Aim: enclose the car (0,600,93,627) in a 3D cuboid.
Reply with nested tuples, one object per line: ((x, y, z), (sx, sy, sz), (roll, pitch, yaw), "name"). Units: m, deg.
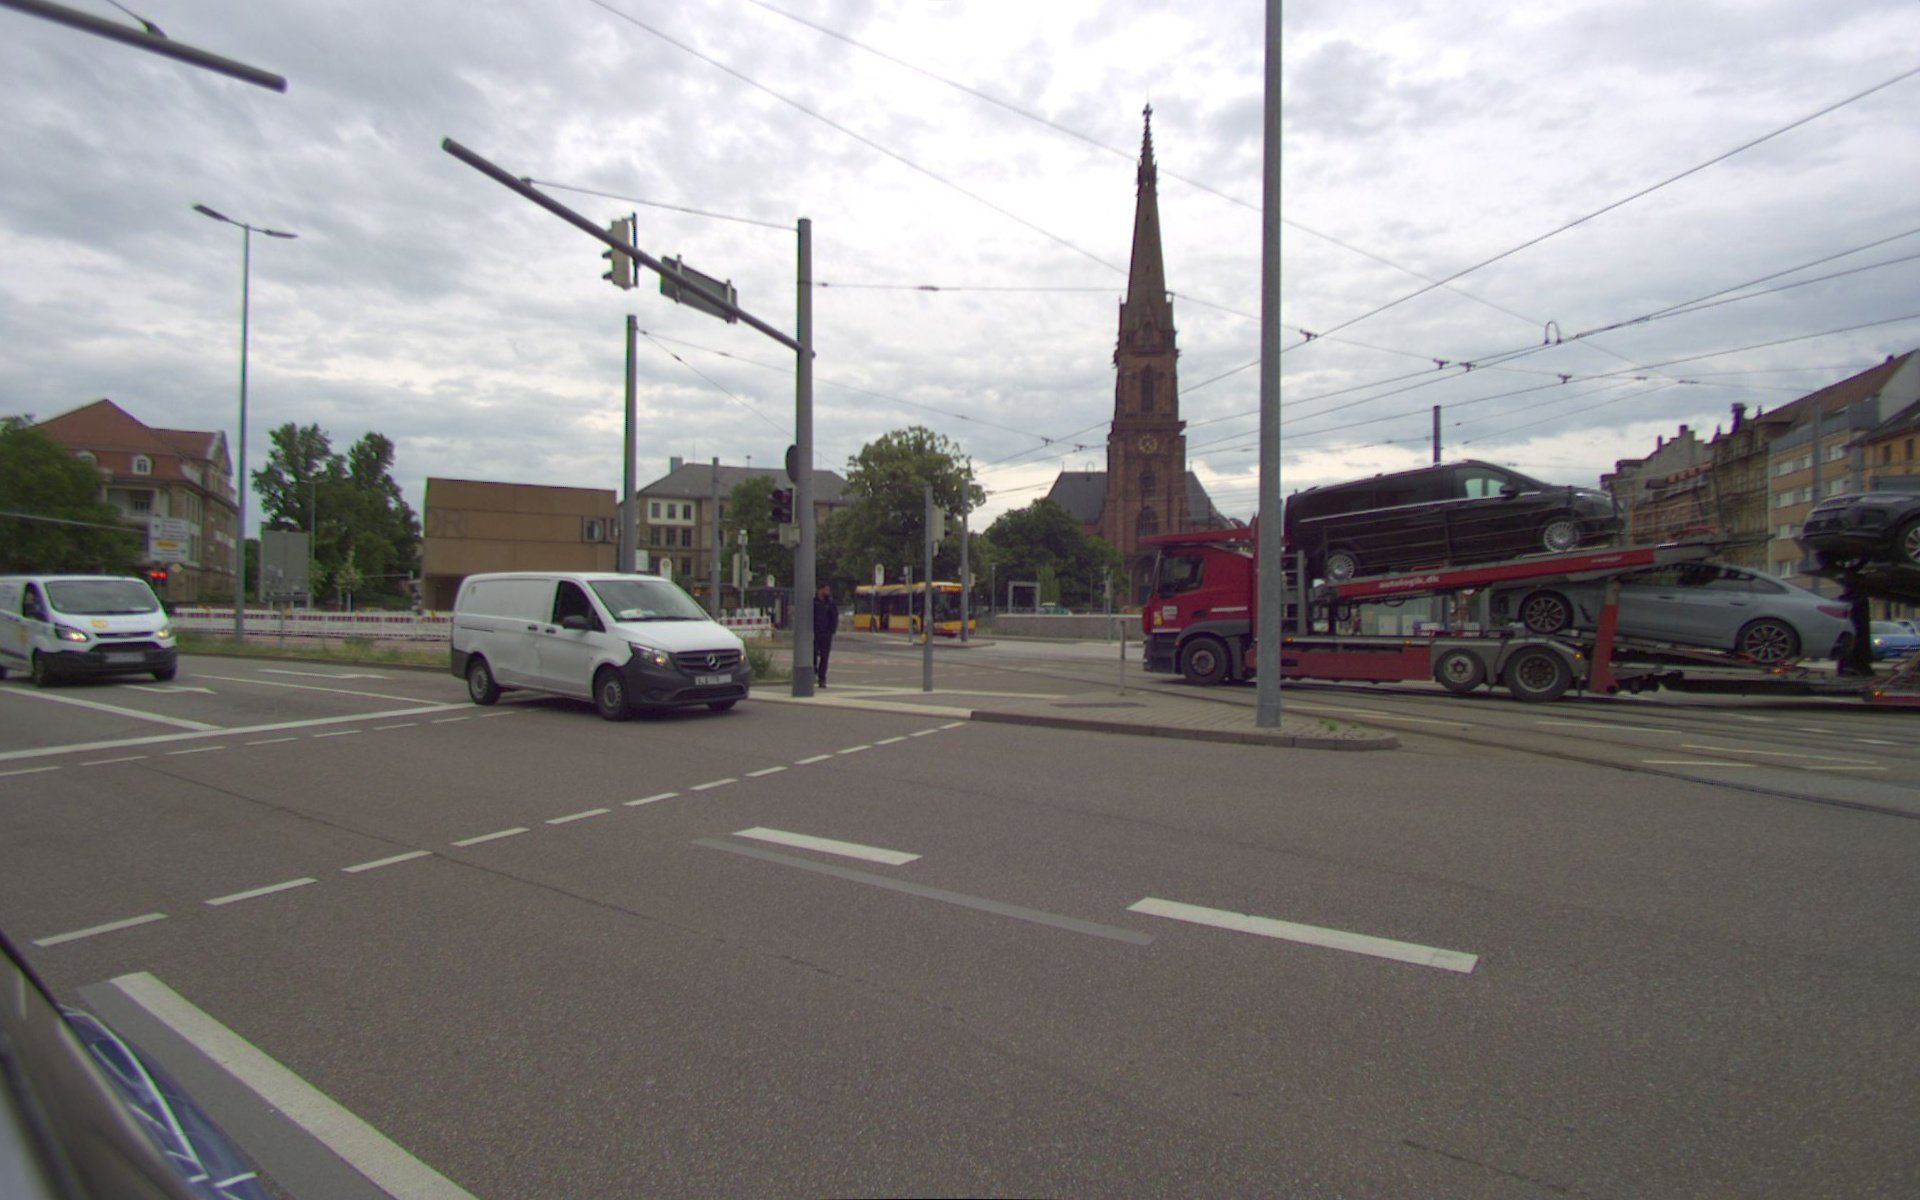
((-61.341, 0.925, 67.628), (1.892, 1.730, 5.227), (0, -1, 9), "car")

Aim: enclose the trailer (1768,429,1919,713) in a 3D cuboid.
((18.237, -0.430, 15.007), (9.446, 4.003, 2.988), (0, 0, 9), "trailer")

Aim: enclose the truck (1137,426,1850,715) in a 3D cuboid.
((8.585, -0.380, 17.947), (10.426, 3.950, 2.981), (0, 0, 33), "truck")

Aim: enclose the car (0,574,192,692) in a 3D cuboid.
((-16.426, 0.575, 18.812), (4.509, 1.956, 1.978), (0, -1, 33), "car")

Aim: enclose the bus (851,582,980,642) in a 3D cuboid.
((-2.876, 0.615, 58.238), (2.815, 3.100, 12.060), (0, 0, -26), "bus")

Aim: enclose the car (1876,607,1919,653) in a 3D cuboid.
((37.605, 1.141, 38.850), (1.981, 1.741, 3.981), (0, 0, 15), "car")

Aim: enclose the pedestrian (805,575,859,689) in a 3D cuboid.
((-2.291, 0.567, 18.048), (0.768, 1.958, 0.984), (1, -1, -18), "pedestrian")

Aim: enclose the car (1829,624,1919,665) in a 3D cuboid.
((32.783, 1.522, 35.304), (1.979, 1.320, 3.986), (0, -1, 11), "car")

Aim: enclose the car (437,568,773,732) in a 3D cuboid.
((-5.022, 0.566, 13.969), (5.080, 1.896, 1.900), (0, 0, 37), "car")
